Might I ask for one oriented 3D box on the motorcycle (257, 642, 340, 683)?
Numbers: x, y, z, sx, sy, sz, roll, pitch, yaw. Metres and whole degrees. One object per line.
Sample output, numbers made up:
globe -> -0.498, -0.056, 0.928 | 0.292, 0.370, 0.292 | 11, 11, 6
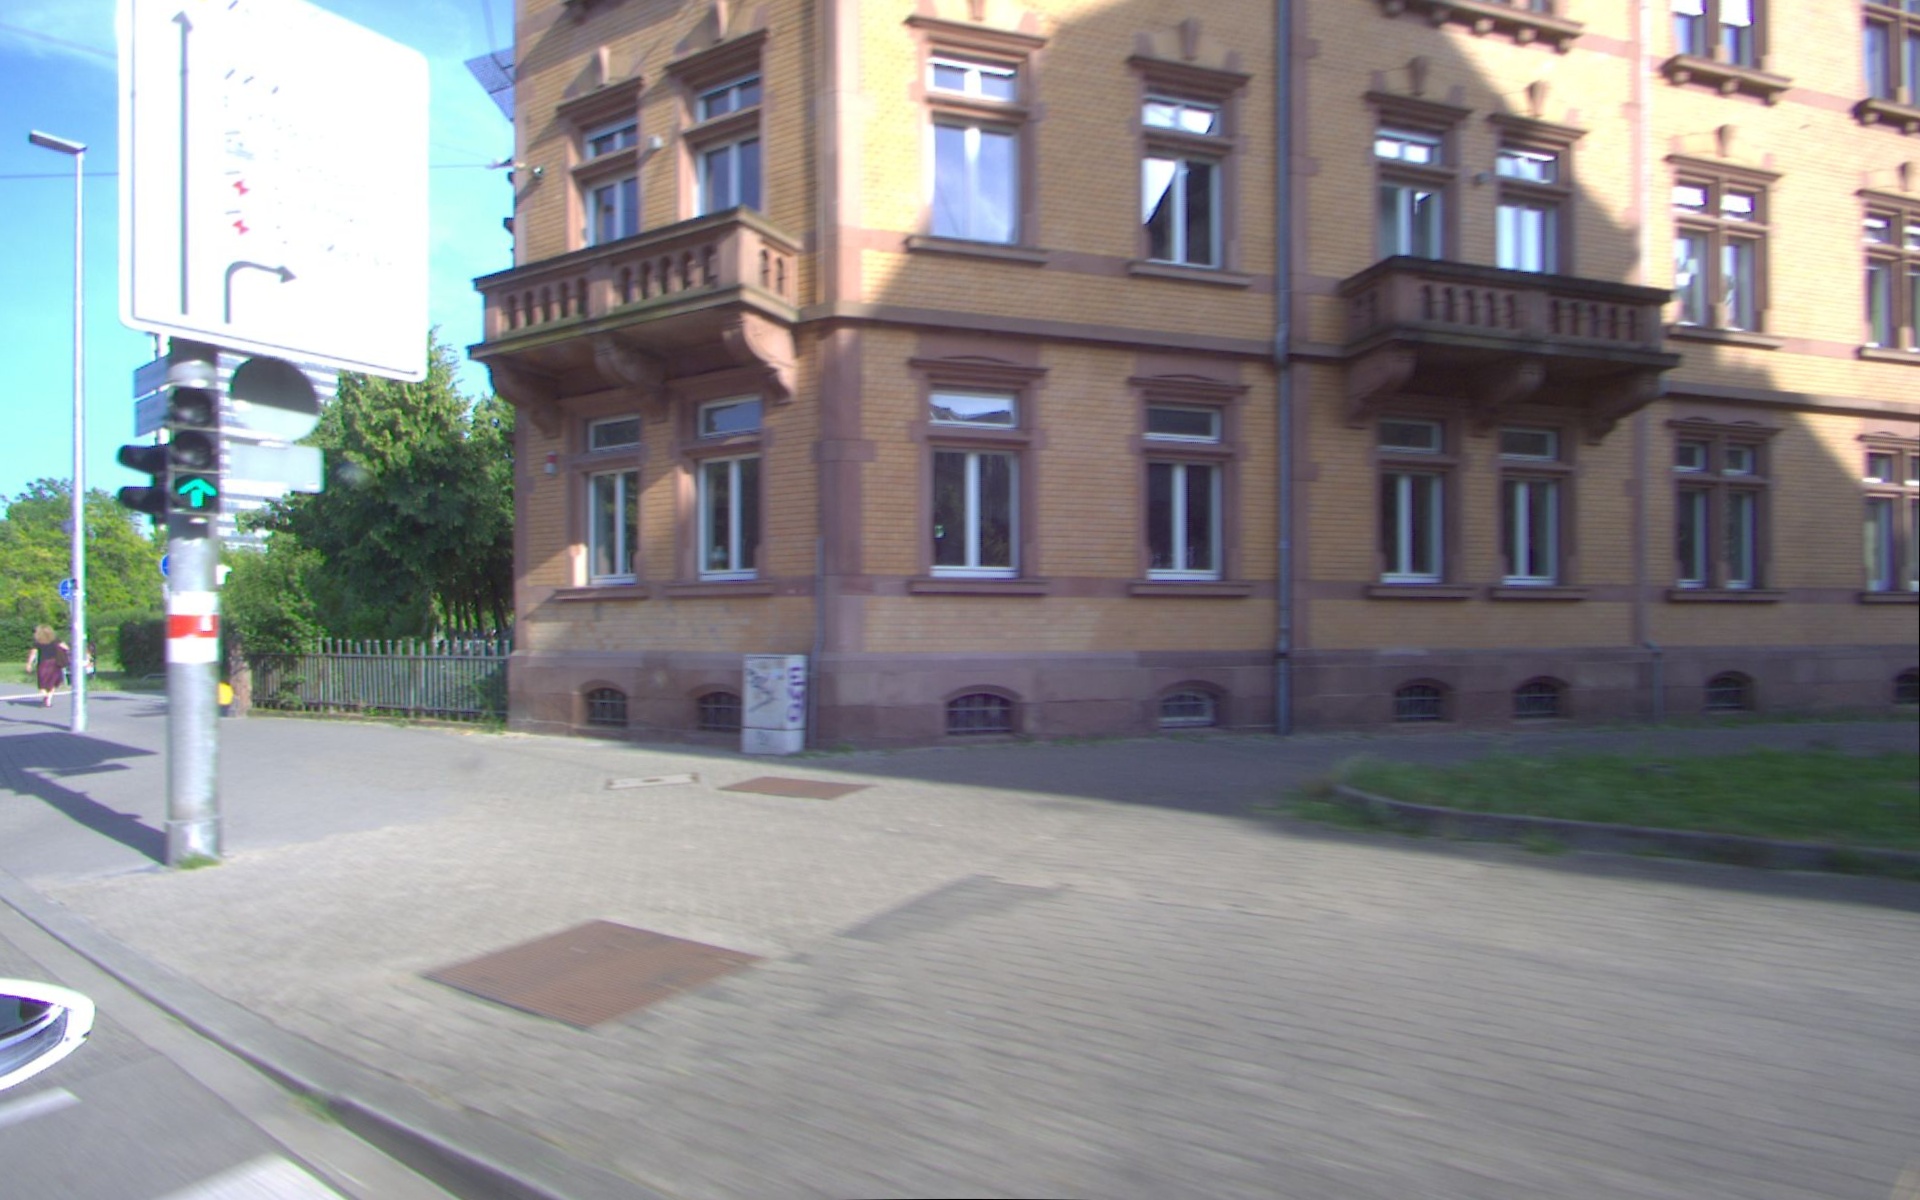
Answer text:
motorcycle -> -19.793, 1.845, 30.009 | 0.696, 1.174, 1.998 | 0, -2, 23

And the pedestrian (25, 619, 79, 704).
pedestrian -> -19.096, 1.273, 21.066 | 0.541, 1.716, 0.613 | 0, 4, 33
